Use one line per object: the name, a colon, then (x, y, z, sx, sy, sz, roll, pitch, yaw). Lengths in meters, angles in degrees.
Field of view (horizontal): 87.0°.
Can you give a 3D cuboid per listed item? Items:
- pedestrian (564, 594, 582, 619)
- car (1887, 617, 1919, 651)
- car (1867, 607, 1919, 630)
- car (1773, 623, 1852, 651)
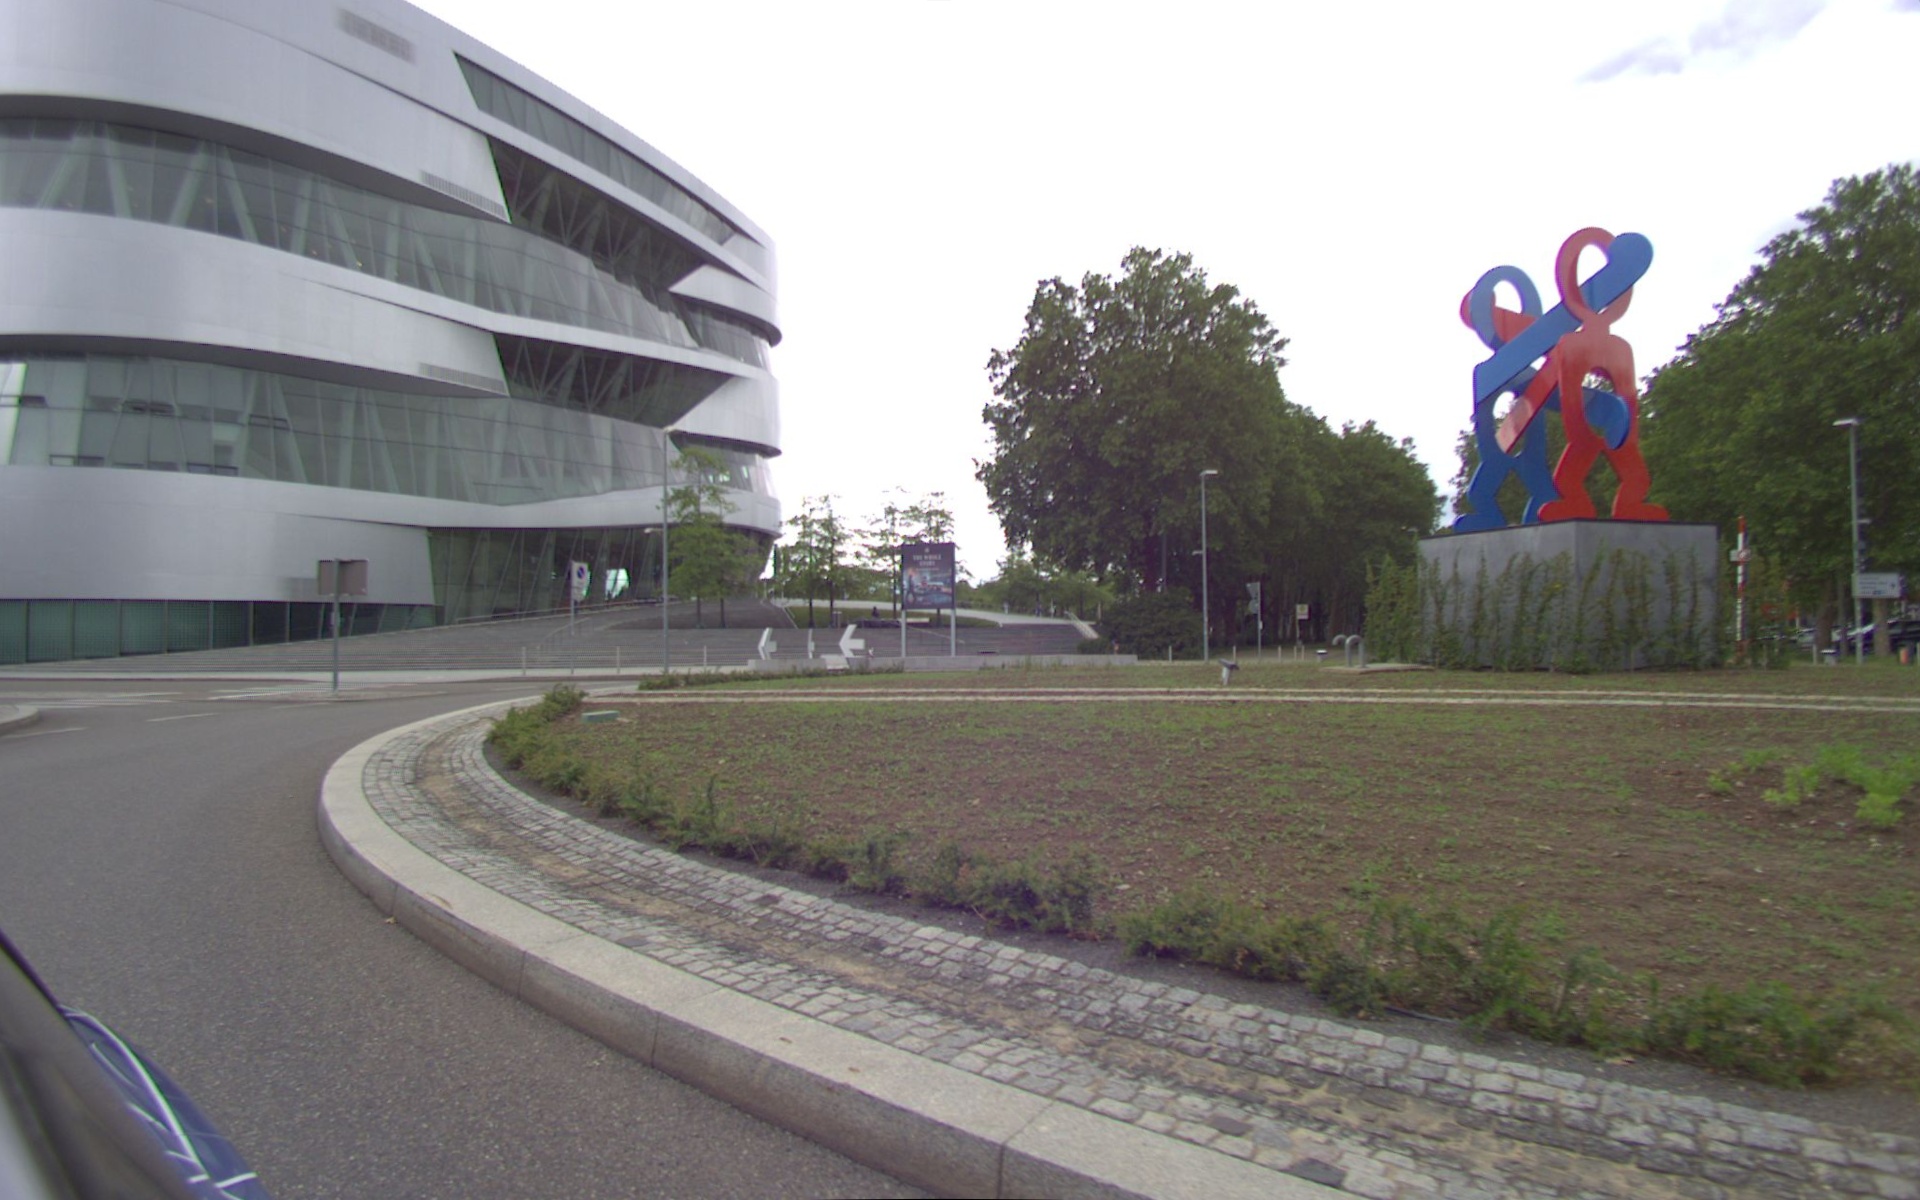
pedestrian: (-31.429, 0.542, 82.110, 0.849, 1.939, 0.943, -3, 0, 31)
car: (52.030, 1.778, 53.744, 3.692, 1.791, 1.655, -3, -4, 26)
car: (75.511, 1.449, 80.598, 4.407, 1.664, 1.783, -2, -4, 22)
car: (56.847, 2.503, 67.566, 3.699, 1.791, 1.652, -3, -4, 32)
